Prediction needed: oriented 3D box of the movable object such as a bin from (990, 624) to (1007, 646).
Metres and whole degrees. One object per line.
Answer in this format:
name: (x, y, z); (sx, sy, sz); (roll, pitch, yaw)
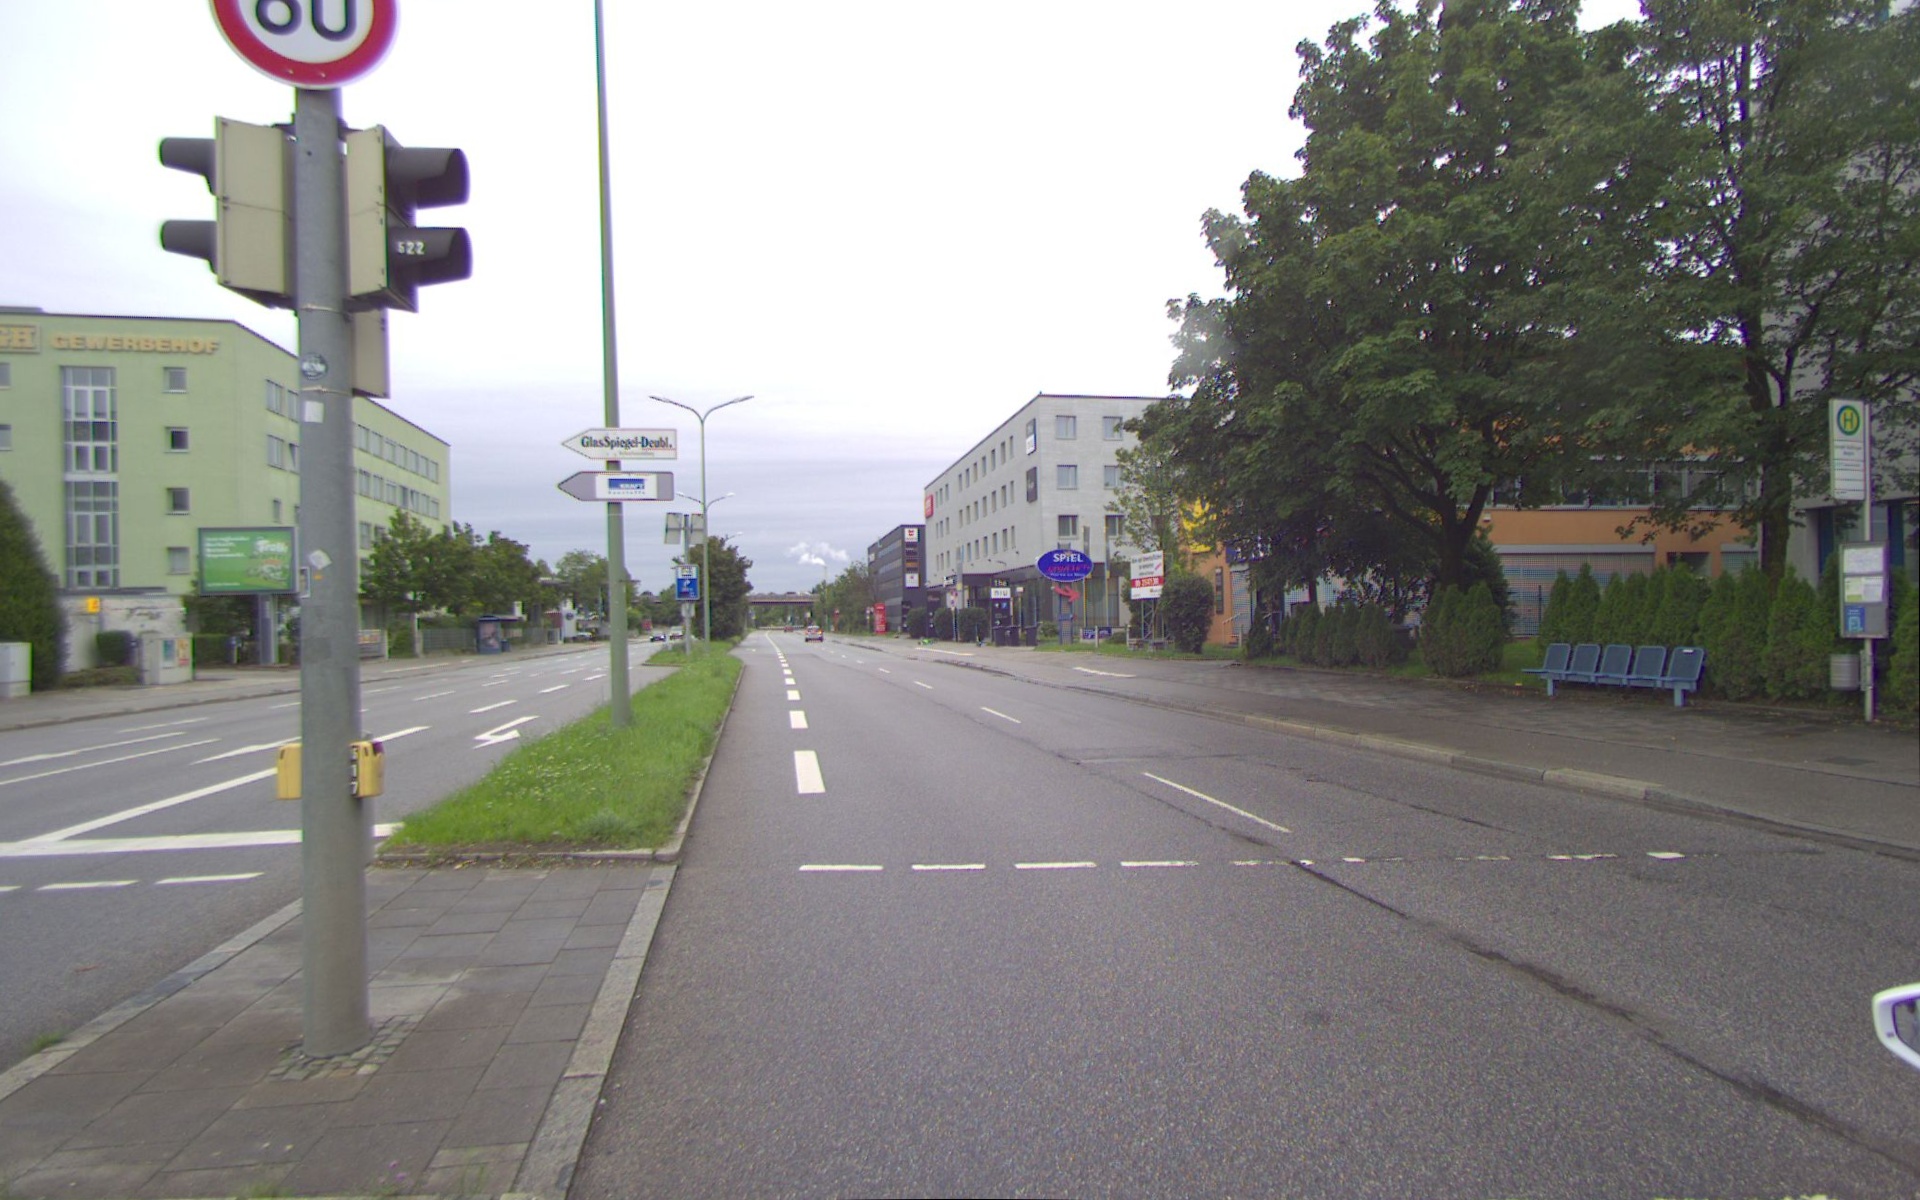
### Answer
movable object such as a bin: (2.025, 1.839, 52.788); (0.726, 1.092, 0.654); (-2, -1, -11)

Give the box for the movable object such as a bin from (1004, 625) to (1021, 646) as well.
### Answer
movable object such as a bin: (2.726, 1.838, 52.213); (0.726, 1.092, 0.654); (-2, -1, -11)

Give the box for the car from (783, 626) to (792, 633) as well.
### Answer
car: (-36.696, 6.304, 213.763); (1.711, 1.568, 4.295); (0, -1, -12)

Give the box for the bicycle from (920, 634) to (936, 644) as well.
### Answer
bicycle: (-2.103, 2.552, 65.105); (0.709, 0.556, 1.729); (-5, 0, -12)

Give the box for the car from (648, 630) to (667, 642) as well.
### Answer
car: (-39.979, 4.736, 132.669); (1.965, 1.420, 4.644); (-2, -1, -13)

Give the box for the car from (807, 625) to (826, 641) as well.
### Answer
car: (-14.808, 3.418, 103.244); (1.787, 1.578, 4.020); (0, -1, -10)

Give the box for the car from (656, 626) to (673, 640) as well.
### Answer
car: (-44.103, 4.858, 149.918); (1.965, 1.986, 4.314); (-2, -1, -13)

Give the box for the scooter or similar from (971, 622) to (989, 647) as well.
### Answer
scooter or similar: (1.078, 1.868, 54.833); (0.577, 1.294, 1.401); (-6, 0, -11)

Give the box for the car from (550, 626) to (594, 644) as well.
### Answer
car: (-47.372, 4.281, 122.687); (4.599, 1.867, 1.784); (-2, -1, -35)

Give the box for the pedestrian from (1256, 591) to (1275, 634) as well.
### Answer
pedestrian: (12.679, 0.502, 41.716); (0.647, 1.735, 0.662); (-3, 0, 21)

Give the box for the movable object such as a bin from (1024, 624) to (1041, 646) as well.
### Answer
movable object such as a bin: (3.804, 1.836, 52.603); (0.726, 1.092, 0.654); (-2, -1, -11)
